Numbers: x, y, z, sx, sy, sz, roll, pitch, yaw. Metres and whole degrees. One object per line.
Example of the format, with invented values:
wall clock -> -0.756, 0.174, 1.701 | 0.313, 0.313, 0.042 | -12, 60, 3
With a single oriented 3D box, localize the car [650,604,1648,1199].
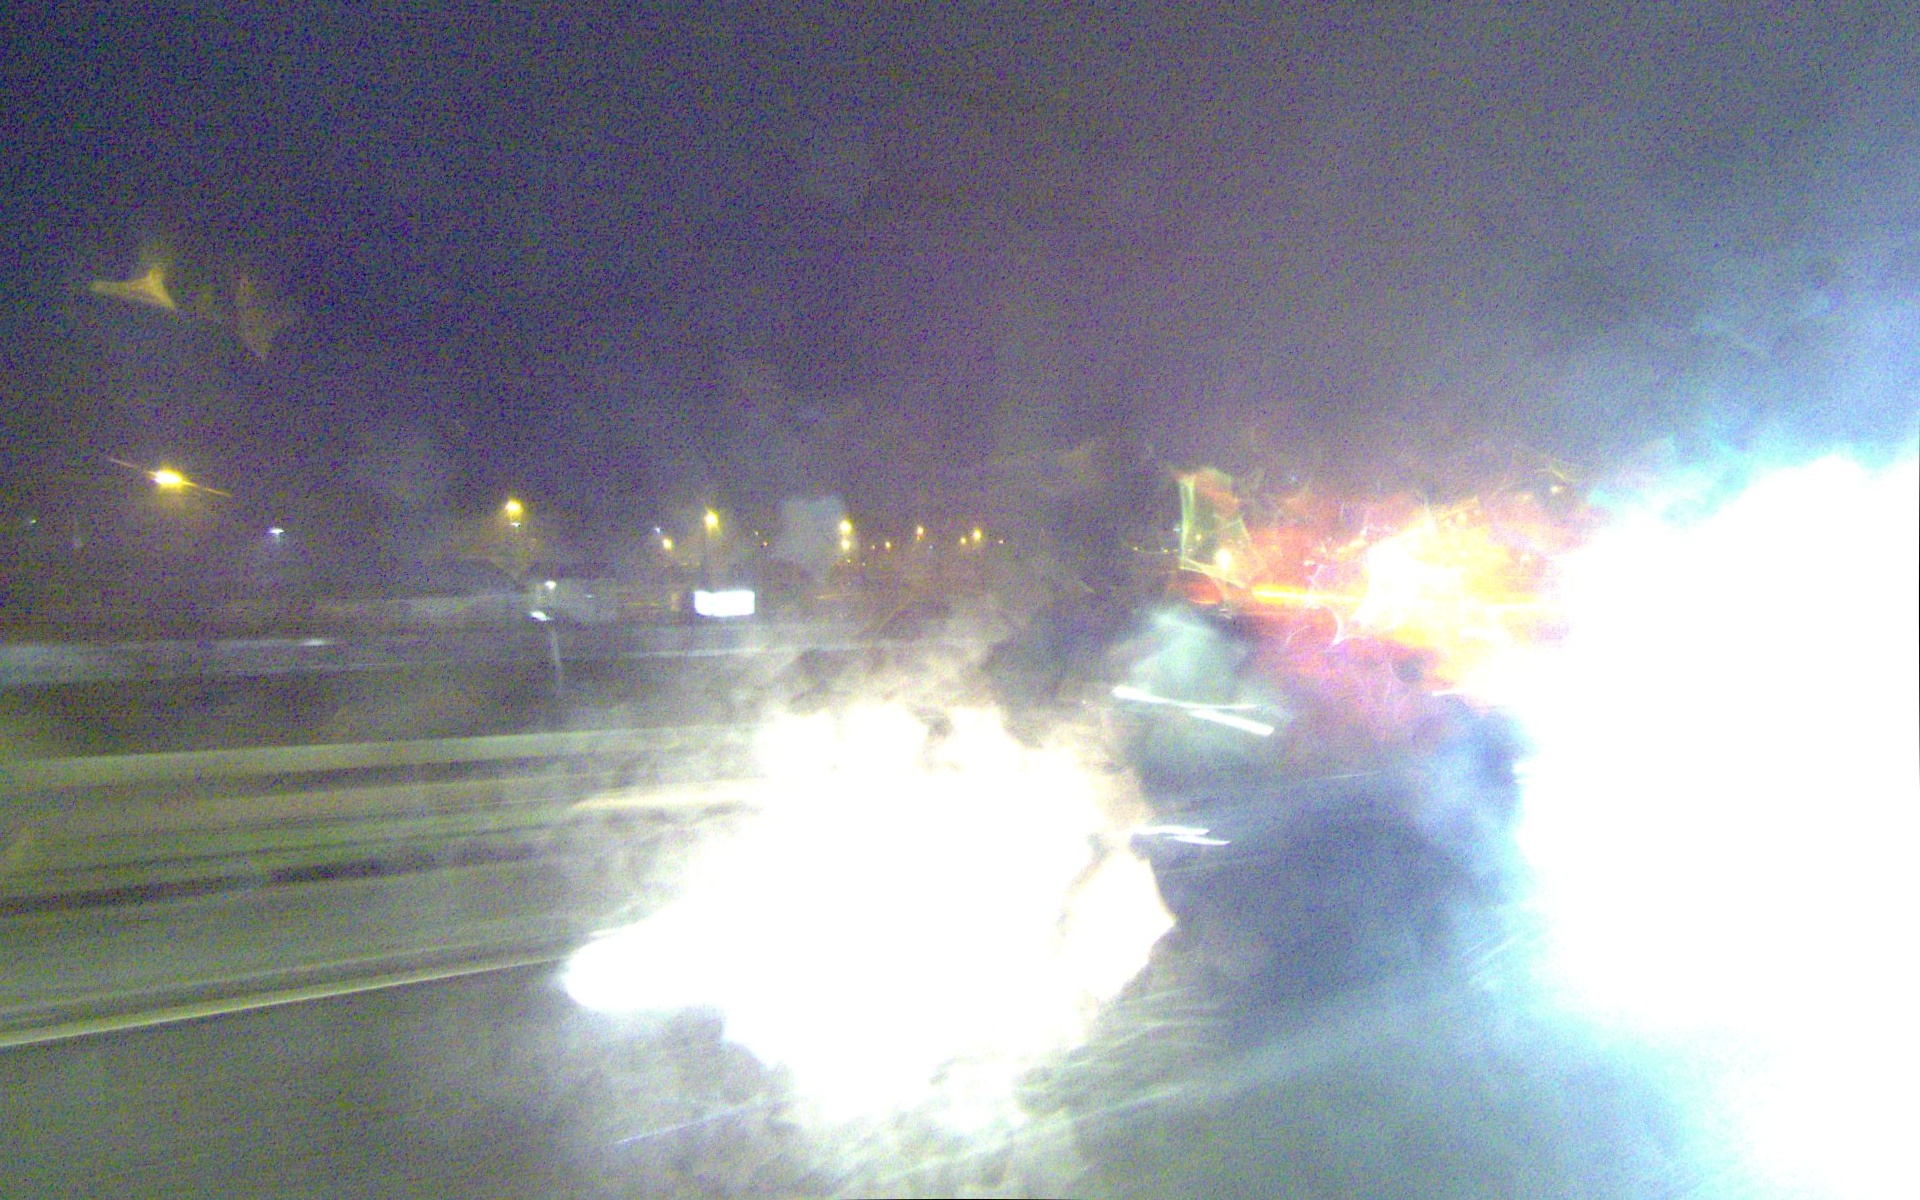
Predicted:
car -> 0.908, 0.779, 3.972 | 3.778, 1.451, 1.655 | 1, 0, -33
